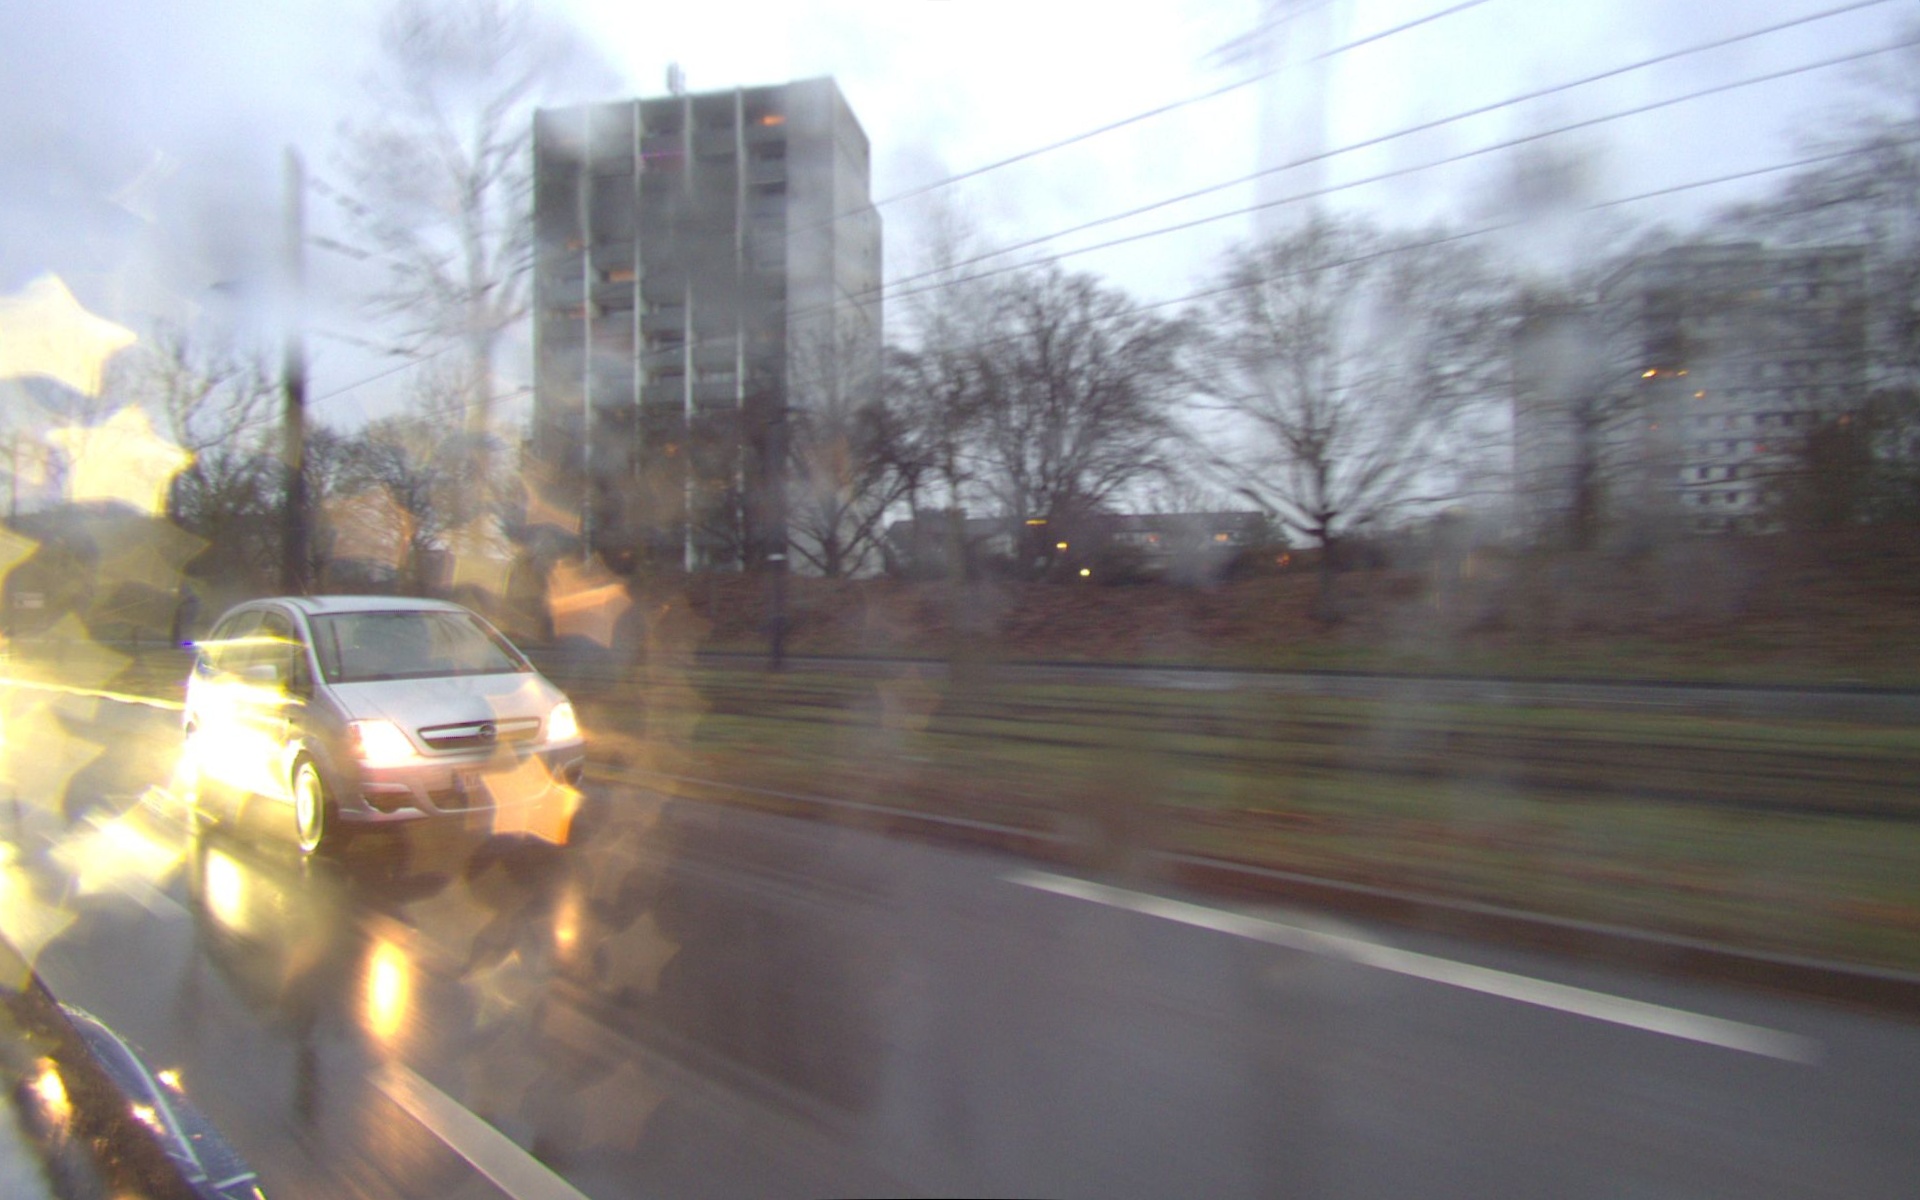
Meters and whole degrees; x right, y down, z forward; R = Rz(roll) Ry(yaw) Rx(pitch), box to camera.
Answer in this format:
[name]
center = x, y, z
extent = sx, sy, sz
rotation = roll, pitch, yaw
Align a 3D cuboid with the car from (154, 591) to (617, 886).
[car]
center = -4.322, 0.776, 7.368
extent = 3.919, 1.587, 1.649
rotation = -1, 0, 40
